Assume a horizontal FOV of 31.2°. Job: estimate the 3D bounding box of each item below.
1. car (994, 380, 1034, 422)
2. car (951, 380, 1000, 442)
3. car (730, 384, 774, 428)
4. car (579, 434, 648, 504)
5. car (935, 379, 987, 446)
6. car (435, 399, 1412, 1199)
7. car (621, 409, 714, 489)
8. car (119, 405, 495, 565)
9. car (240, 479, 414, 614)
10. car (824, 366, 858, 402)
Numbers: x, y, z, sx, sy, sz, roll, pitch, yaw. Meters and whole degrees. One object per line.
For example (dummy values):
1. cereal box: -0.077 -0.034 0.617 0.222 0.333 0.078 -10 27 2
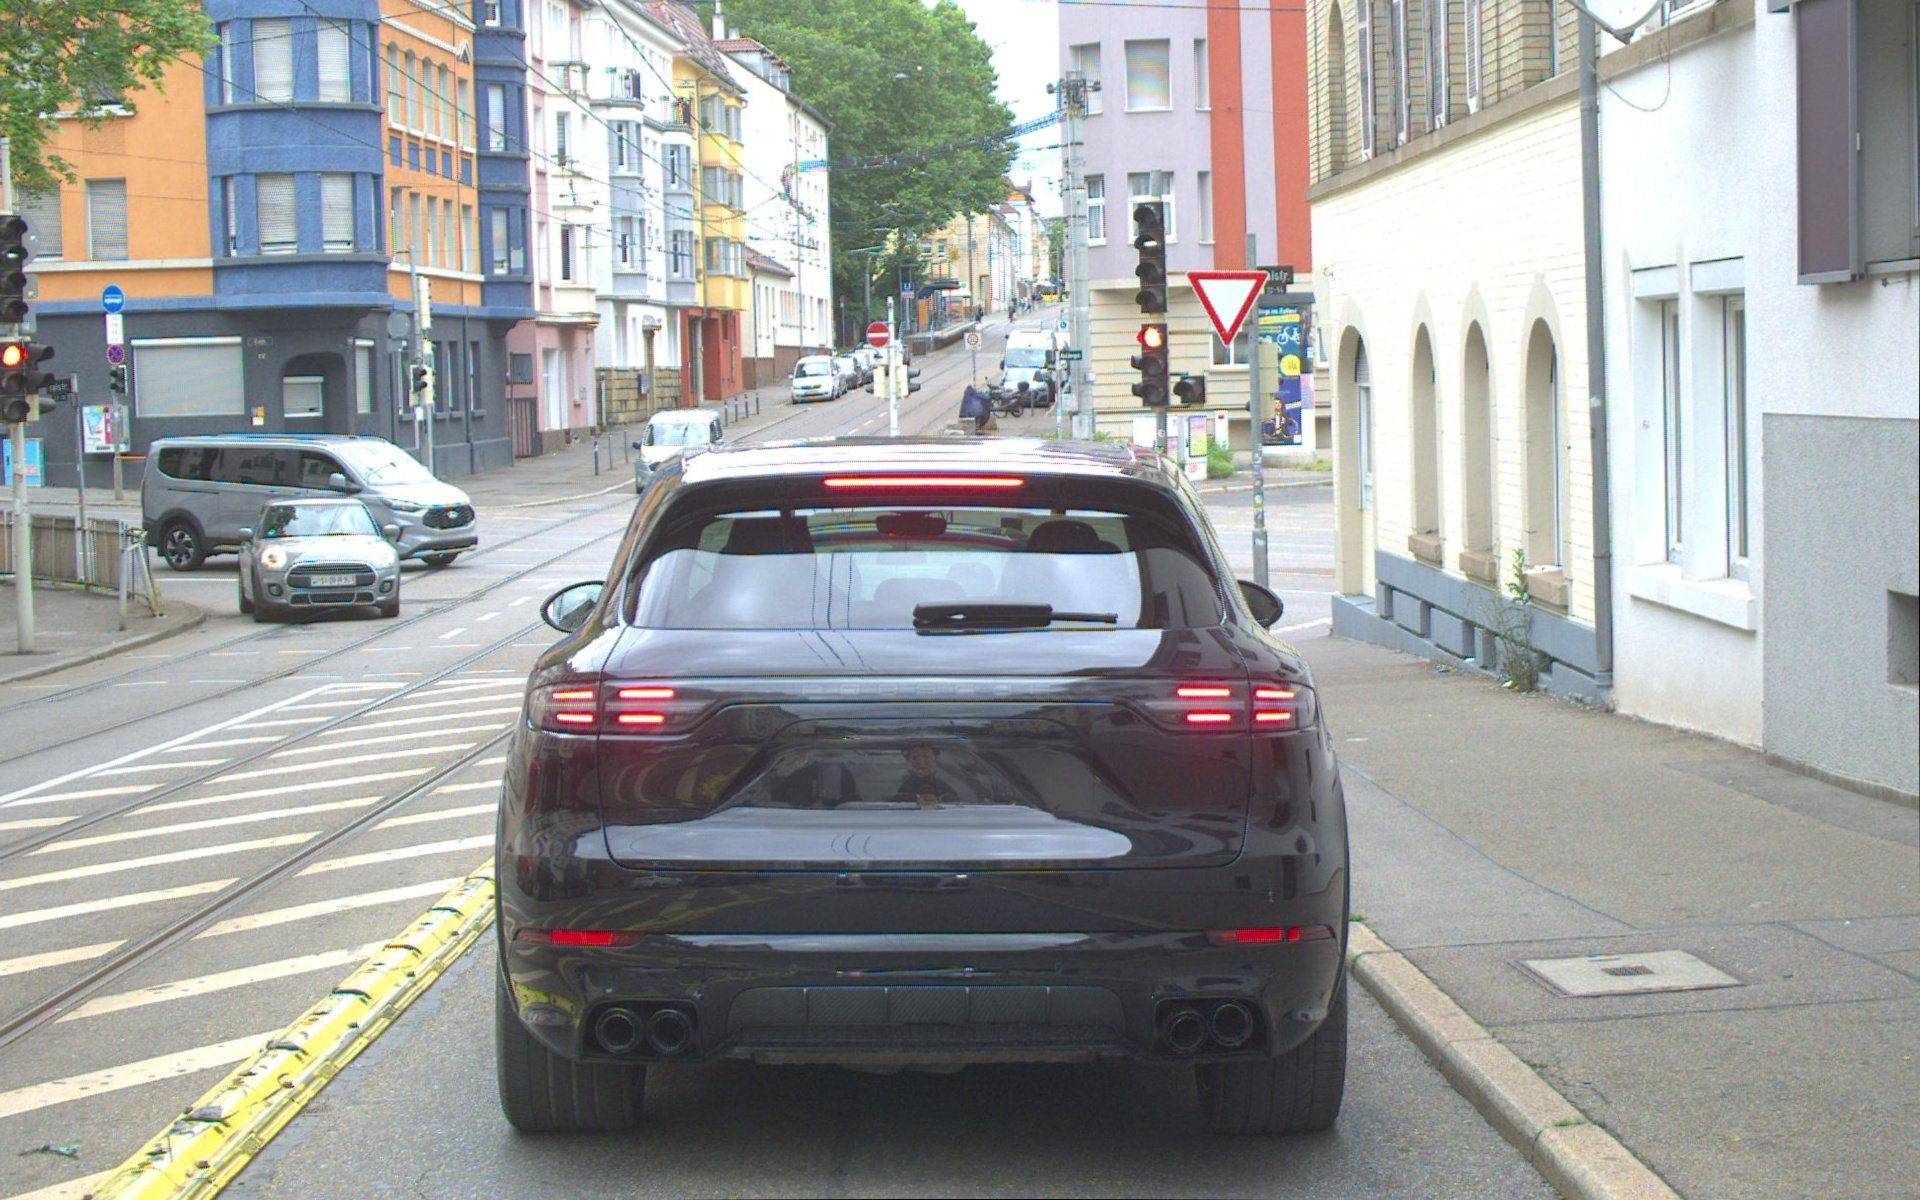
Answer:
1. car: 2.004 -7.372 127.516 1.394 1.445 3.359 -1 2 0
2. car: 0.438 -5.621 102.268 1.394 1.716 3.359 -1 2 0
3. car: -7.597 -7.080 125.640 1.394 1.445 3.359 -1 2 0
4. car: -8.934 -3.368 88.865 1.394 1.716 3.359 -1 2 0
5. car: 0.028 -5.194 95.487 1.394 1.716 3.359 -1 2 0
6. car: -0.110 0.388 9.155 1.993 1.670 4.001 -1 2 -1
7. car: -6.757 -3.479 79.691 1.751 1.753 4.254 -1 2 0
8. car: -9.874 -1.736 51.969 5.296 2.232 1.998 0 5 25
9. car: -7.568 -0.661 41.340 1.634 1.503 3.541 -2 2 -4
10. car: -5.300 -9.614 153.257 1.394 1.445 3.359 -1 2 0
